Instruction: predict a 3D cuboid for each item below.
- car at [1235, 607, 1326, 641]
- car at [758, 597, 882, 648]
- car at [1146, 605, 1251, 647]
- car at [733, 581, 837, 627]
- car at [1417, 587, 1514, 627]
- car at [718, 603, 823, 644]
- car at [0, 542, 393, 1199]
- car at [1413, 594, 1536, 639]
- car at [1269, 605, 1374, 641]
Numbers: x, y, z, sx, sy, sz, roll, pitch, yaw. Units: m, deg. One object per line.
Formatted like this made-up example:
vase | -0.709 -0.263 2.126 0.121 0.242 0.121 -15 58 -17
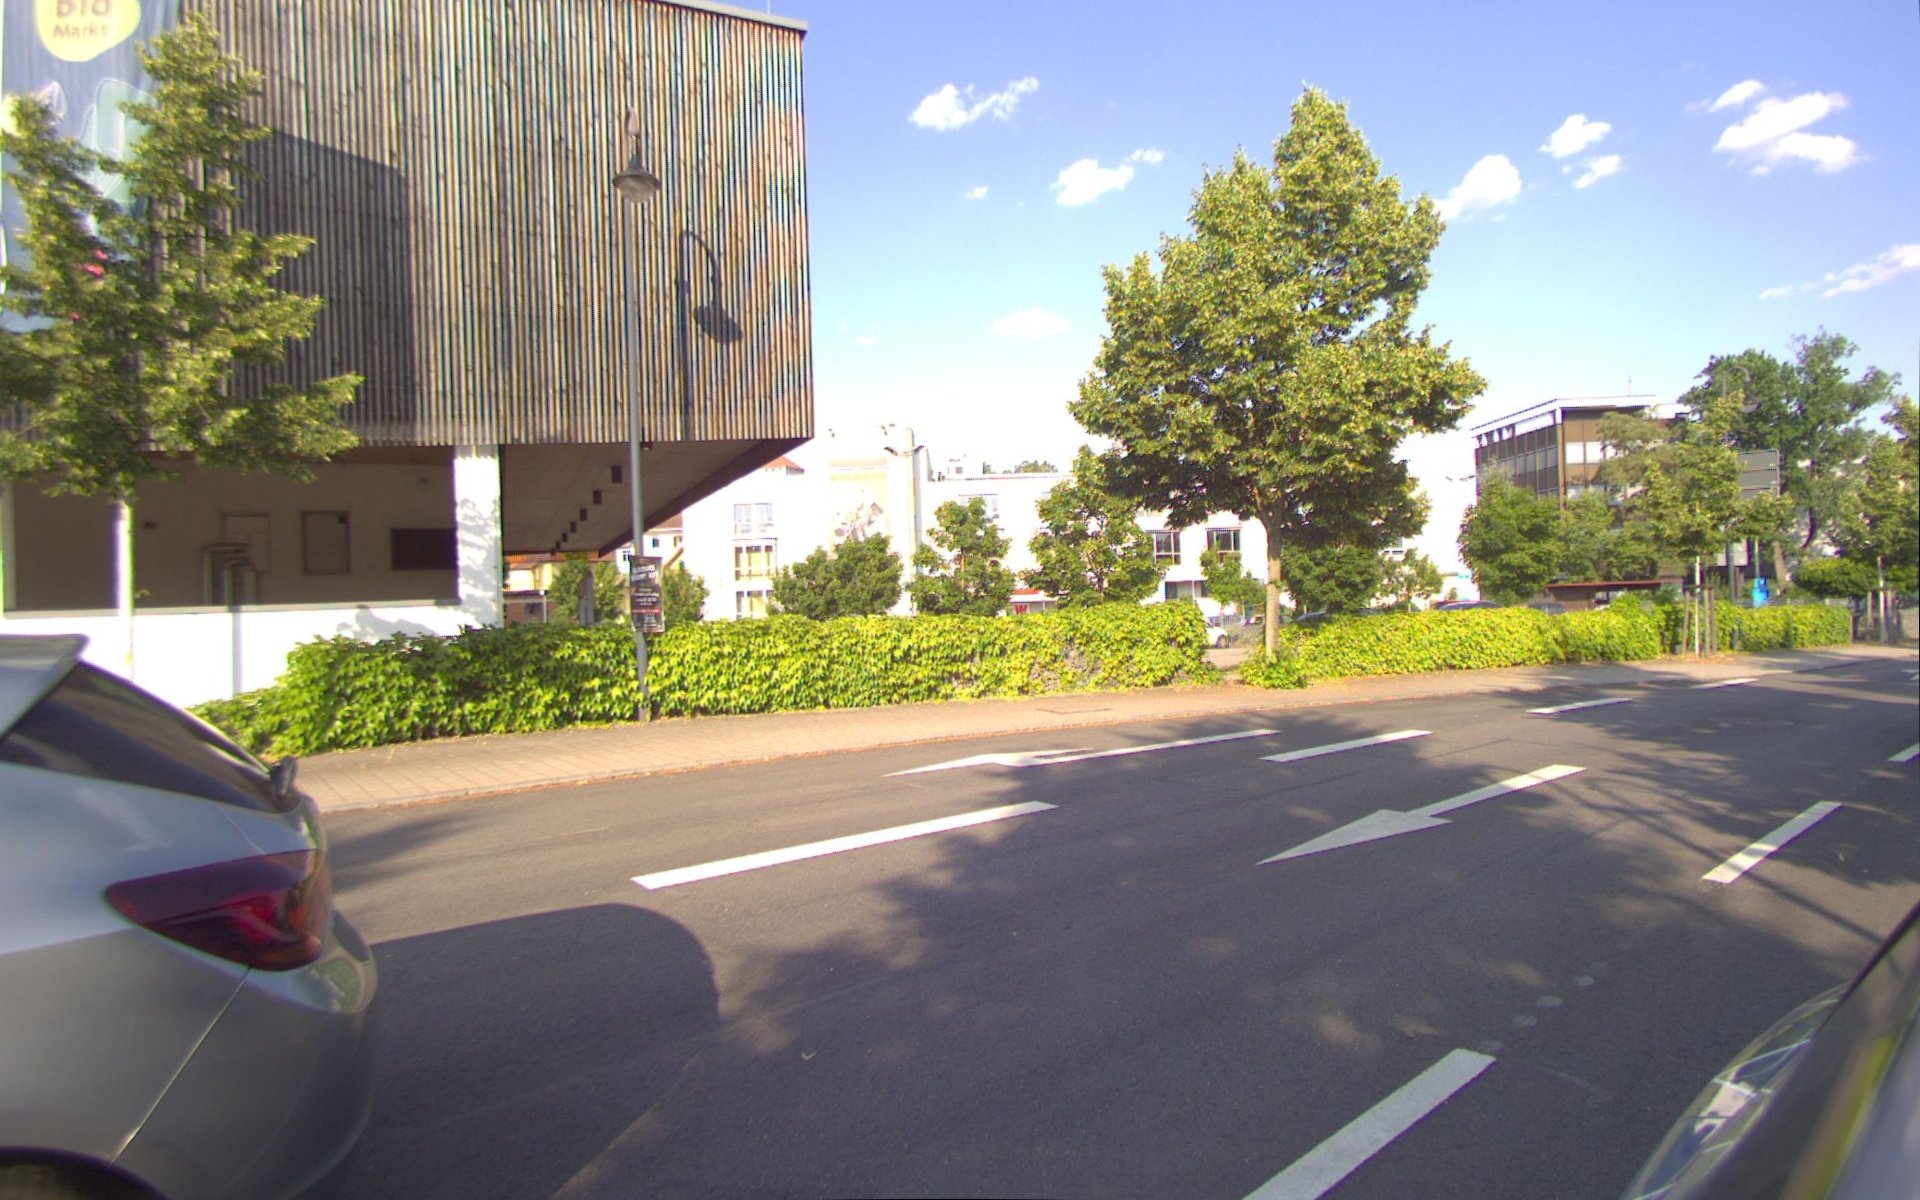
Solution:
car | 15.210 1.113 48.071 3.873 1.462 2.002 -1 -1 -29
car | -4.990 0.770 35.935 3.918 1.649 2.003 -1 -1 -26
car | 10.744 1.161 45.589 4.226 1.746 1.897 -1 -3 -24
car | -6.260 0.110 36.212 3.360 1.504 1.548 -2 1 -24
car | 24.861 0.333 49.738 4.553 1.878 2.002 -1 -1 -28
car | -7.964 0.948 42.453 3.918 1.571 2.003 -1 -1 -26
car | -3.138 0.672 1.012 4.232 1.509 1.723 0 0 -42
car | 19.713 0.638 38.746 4.457 1.552 2.001 -1 -3 -29
car | 16.303 0.998 45.598 4.457 1.462 2.002 -1 -1 -29
